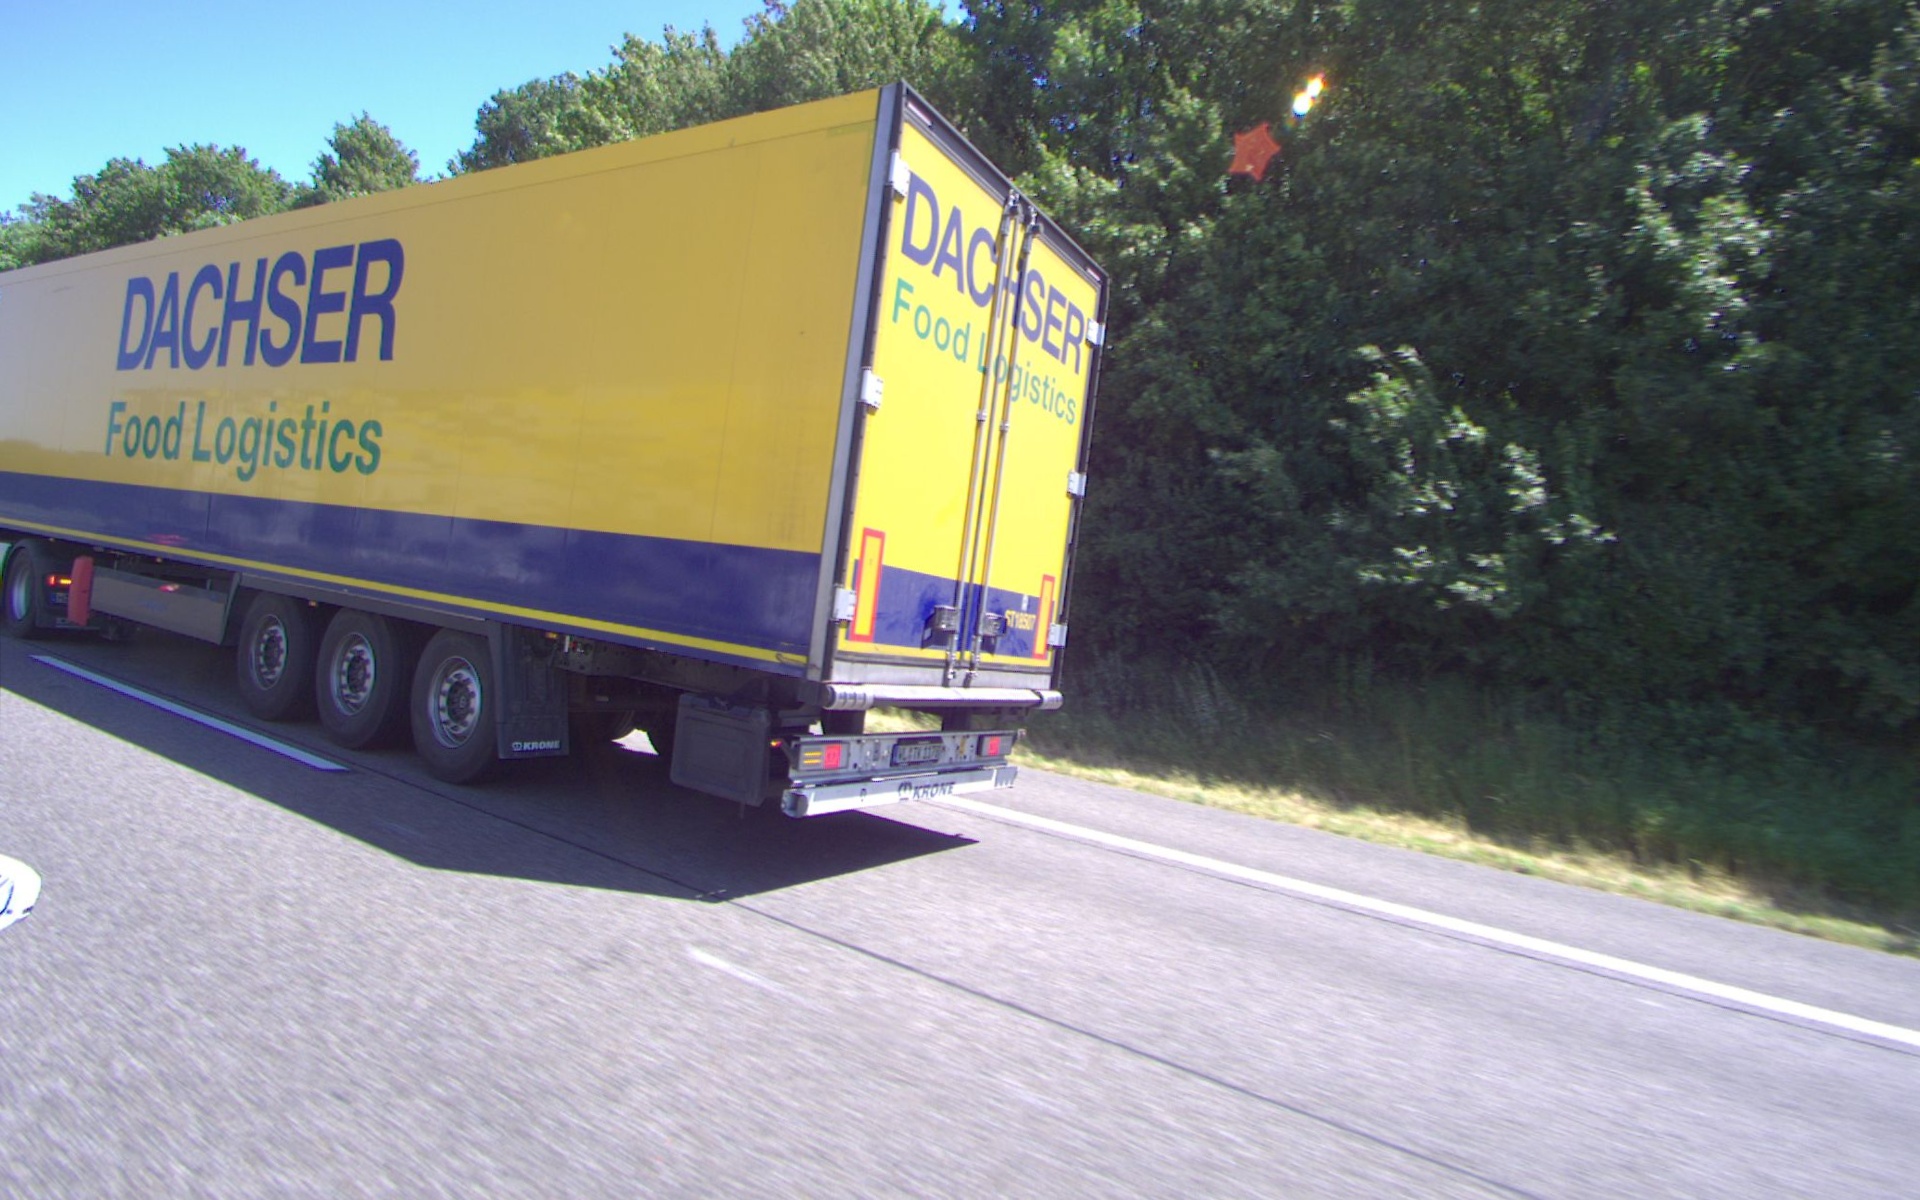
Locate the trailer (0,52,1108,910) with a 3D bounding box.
[{"bbox_3d":[-5.635,-1.109,9.530,13.606,4.118,2.682,7,-1,32],"label":"trailer"}]

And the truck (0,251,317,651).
[{"bbox_3d":[-11.695,-1.806,13.324,5.948,4.118,2.682,7,-1,32],"label":"truck"}]
